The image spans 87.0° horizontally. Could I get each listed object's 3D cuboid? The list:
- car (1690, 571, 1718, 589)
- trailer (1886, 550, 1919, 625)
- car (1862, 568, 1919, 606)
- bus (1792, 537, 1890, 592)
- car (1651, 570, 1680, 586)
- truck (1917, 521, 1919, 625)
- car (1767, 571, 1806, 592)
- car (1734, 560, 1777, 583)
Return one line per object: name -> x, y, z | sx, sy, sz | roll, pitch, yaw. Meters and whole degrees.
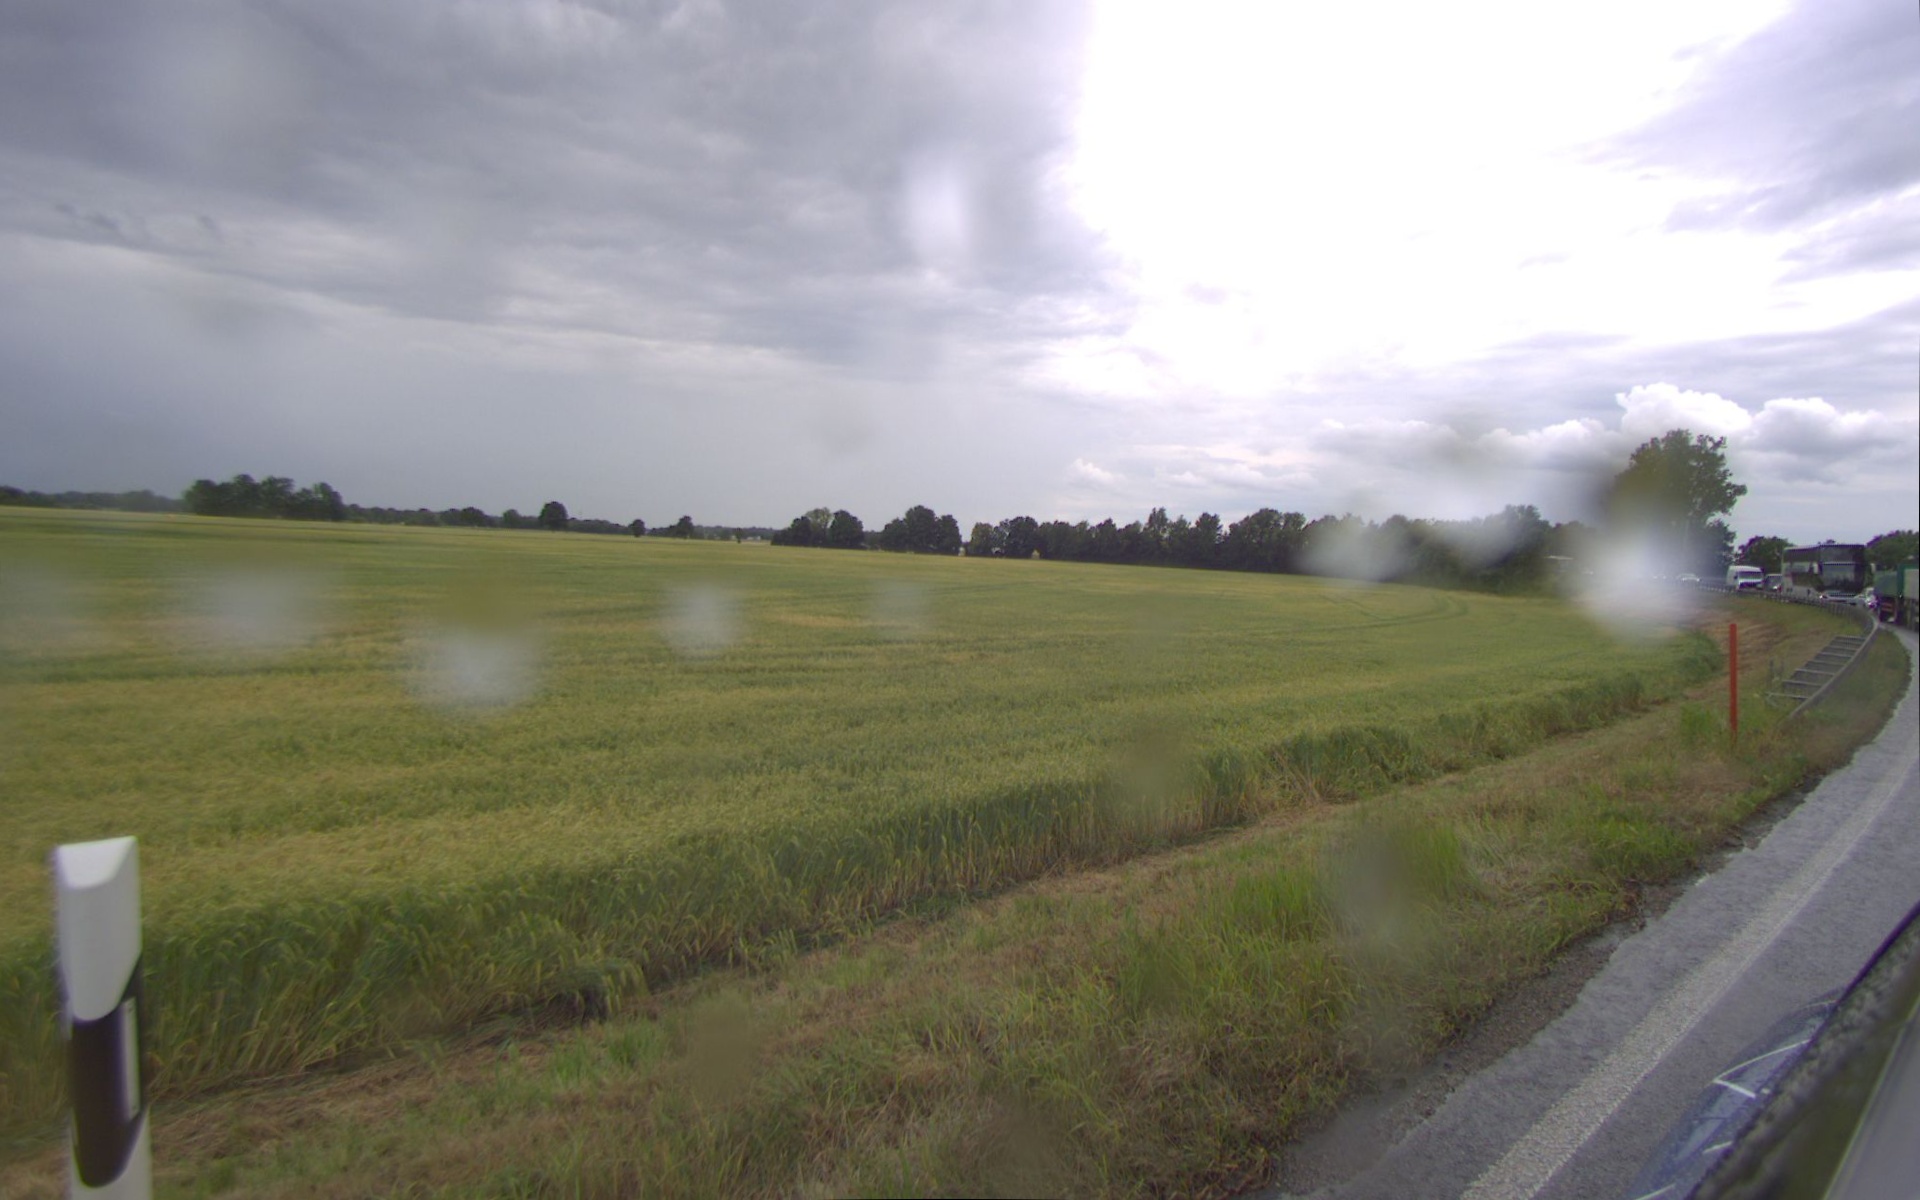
car -> 87.464, -2.402, 118.991 | 1.980, 2.038, 4.194 | 0, 1, 27
trailer -> 38.922, -0.586, 39.628 | 2.971, 2.665, 15.463 | 0, 2, 39
car -> 48.320, -0.715, 52.168 | 2.030, 1.865, 5.271 | 0, 2, 34
bus -> 59.325, -2.474, 68.559 | 2.944, 3.353, 14.667 | 0, 2, 33
car -> 92.744, -2.909, 133.130 | 1.974, 2.038, 4.240 | 0, 1, 19
truck -> 33.622, -0.884, 33.040 | 2.971, 3.655, 5.996 | 0, 2, 39
car -> 66.554, -1.498, 81.576 | 1.799, 1.597, 3.959 | 0, 2, 30
car -> 74.273, -2.648, 94.597 | 1.979, 2.038, 5.290 | 0, 1, 25
